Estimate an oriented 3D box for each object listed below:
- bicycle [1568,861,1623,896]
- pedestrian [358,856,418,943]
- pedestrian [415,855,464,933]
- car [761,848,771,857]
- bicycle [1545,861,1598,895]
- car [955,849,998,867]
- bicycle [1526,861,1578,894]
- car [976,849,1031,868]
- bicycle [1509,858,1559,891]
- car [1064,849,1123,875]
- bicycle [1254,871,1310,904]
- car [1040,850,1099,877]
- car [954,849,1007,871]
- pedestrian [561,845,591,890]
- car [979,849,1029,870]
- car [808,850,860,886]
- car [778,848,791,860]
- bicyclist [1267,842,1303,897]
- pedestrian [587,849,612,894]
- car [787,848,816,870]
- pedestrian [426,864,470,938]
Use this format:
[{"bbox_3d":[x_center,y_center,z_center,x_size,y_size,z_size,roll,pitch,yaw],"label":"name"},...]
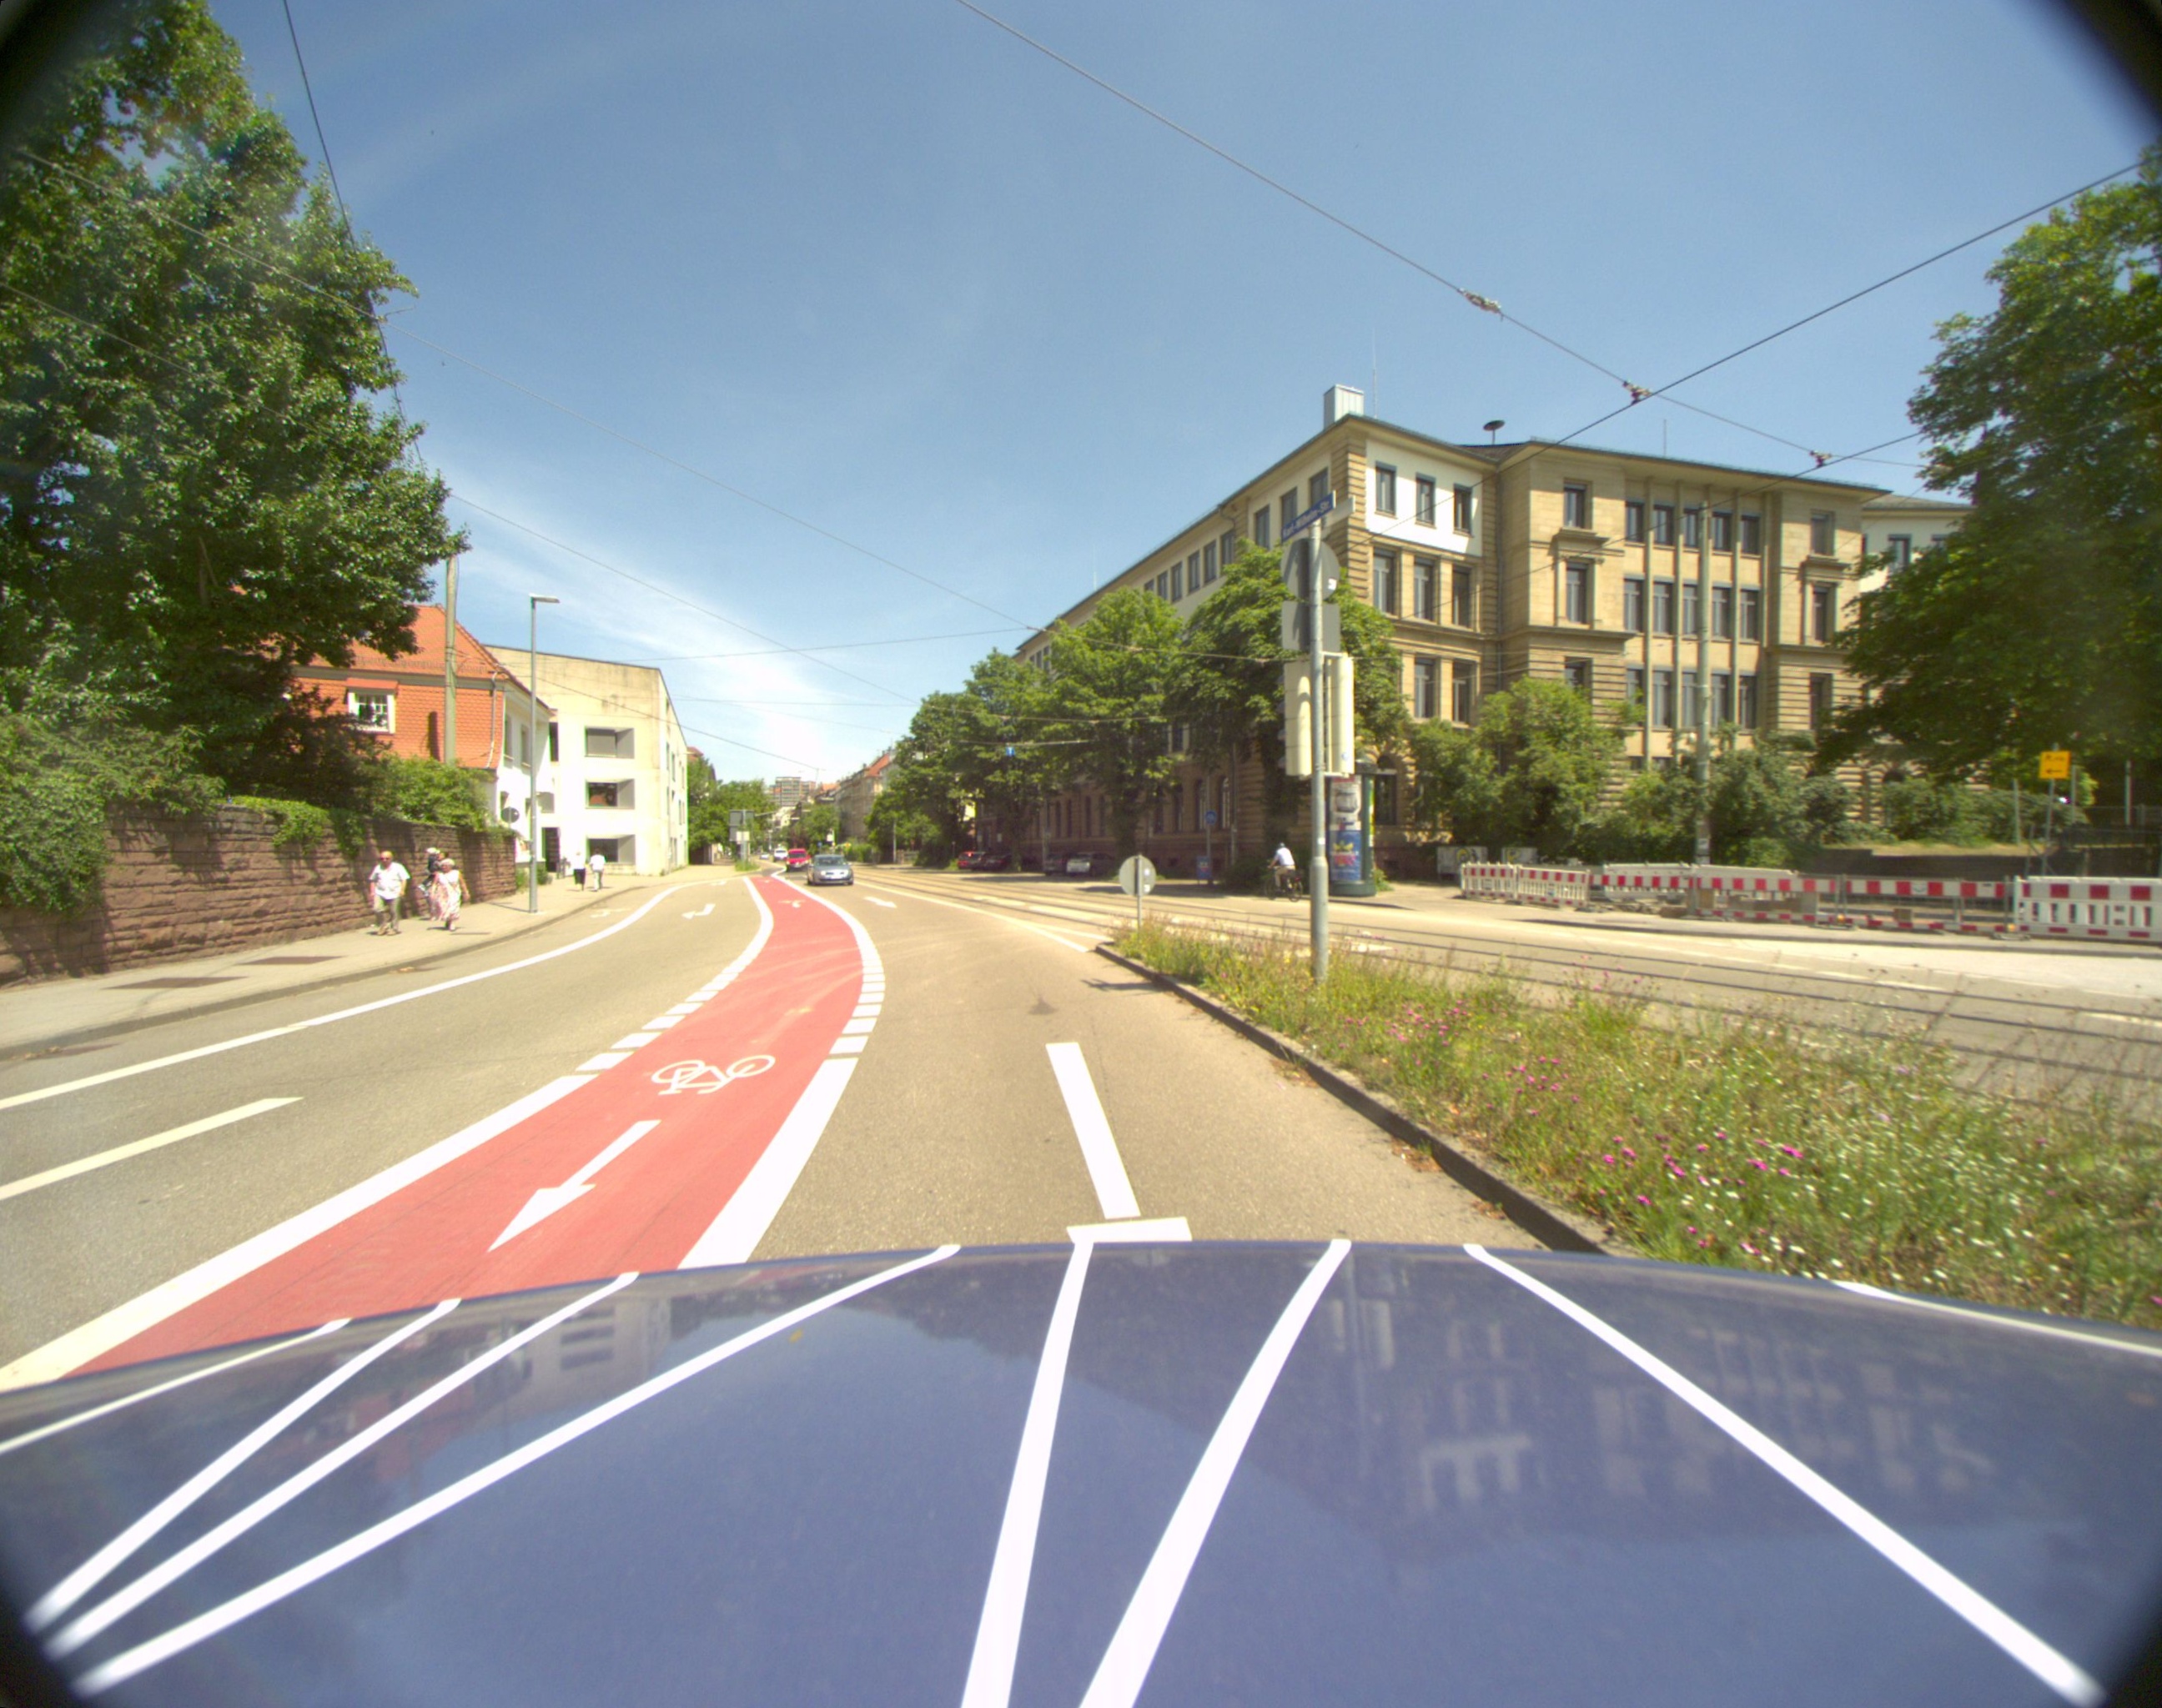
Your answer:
[{"bbox_3d":[16.880,0.789,24.912,1.739,1.096,0.503,-1,1,-17],"label":"bicycle"},{"bbox_3d":[-13.562,0.869,14.890,0.663,1.638,0.623,0,1,-19],"label":"pedestrian"},{"bbox_3d":[-15.046,0.913,17.837,0.719,1.763,0.627,-1,1,-26],"label":"pedestrian"},{"bbox_3d":[-64.703,-0.292,156.190,1.886,1.675,3.360,-1,2,-23],"label":"car"},{"bbox_3d":[16.597,0.791,25.697,1.739,1.096,0.503,-1,1,-17],"label":"bicycle"},{"bbox_3d":[-8.941,0.330,65.288,1.664,1.507,3.359,0,2,40],"label":"car"},{"bbox_3d":[16.366,0.797,26.414,1.739,1.096,0.503,-1,1,-17],"label":"bicycle"},{"bbox_3d":[-5.676,0.300,56.108,1.664,1.366,3.942,0,0,40],"label":"car"},{"bbox_3d":[16.142,0.725,27.075,1.689,1.141,0.462,-1,2,-14],"label":"bicycle"},{"bbox_3d":[0.779,0.457,44.596,1.697,1.398,3.556,0,1,37],"label":"car"},{"bbox_3d":[6.393,1.050,24.341,0.505,0.909,2.366,-1,1,-19],"label":"bicycle"},{"bbox_3d":[-0.688,0.573,47.094,1.664,1.511,3.684,0,2,37],"label":"car"},{"bbox_3d":[-8.095,0.443,61.679,1.664,1.576,4.330,0,2,37],"label":"car"},{"bbox_3d":[-20.296,0.533,30.543,0.817,1.797,0.699,0,1,-20],"label":"pedestrian"},{"bbox_3d":[-5.990,0.412,59.725,1.788,1.568,3.826,0,1,37],"label":"car"},{"bbox_3d":[-11.776,0.702,36.070,1.897,1.560,4.030,-1,-2,-24],"label":"car"},{"bbox_3d":[-43.307,-0.030,110.867,1.623,1.700,3.422,-1,2,-23],"label":"car"},{"bbox_3d":[6.474,0.481,24.104,0.824,1.700,0.769,-1,1,-19],"label":"bicyclist"},{"bbox_3d":[-19.556,0.697,30.860,0.680,1.797,0.746,0,1,-20],"label":"pedestrian"},{"bbox_3d":[-22.572,0.395,61.265,1.878,1.638,3.770,-1,2,-25],"label":"car"},{"bbox_3d":[-13.363,0.981,16.052,0.517,1.524,0.596,0,1,-19],"label":"pedestrian"}]
